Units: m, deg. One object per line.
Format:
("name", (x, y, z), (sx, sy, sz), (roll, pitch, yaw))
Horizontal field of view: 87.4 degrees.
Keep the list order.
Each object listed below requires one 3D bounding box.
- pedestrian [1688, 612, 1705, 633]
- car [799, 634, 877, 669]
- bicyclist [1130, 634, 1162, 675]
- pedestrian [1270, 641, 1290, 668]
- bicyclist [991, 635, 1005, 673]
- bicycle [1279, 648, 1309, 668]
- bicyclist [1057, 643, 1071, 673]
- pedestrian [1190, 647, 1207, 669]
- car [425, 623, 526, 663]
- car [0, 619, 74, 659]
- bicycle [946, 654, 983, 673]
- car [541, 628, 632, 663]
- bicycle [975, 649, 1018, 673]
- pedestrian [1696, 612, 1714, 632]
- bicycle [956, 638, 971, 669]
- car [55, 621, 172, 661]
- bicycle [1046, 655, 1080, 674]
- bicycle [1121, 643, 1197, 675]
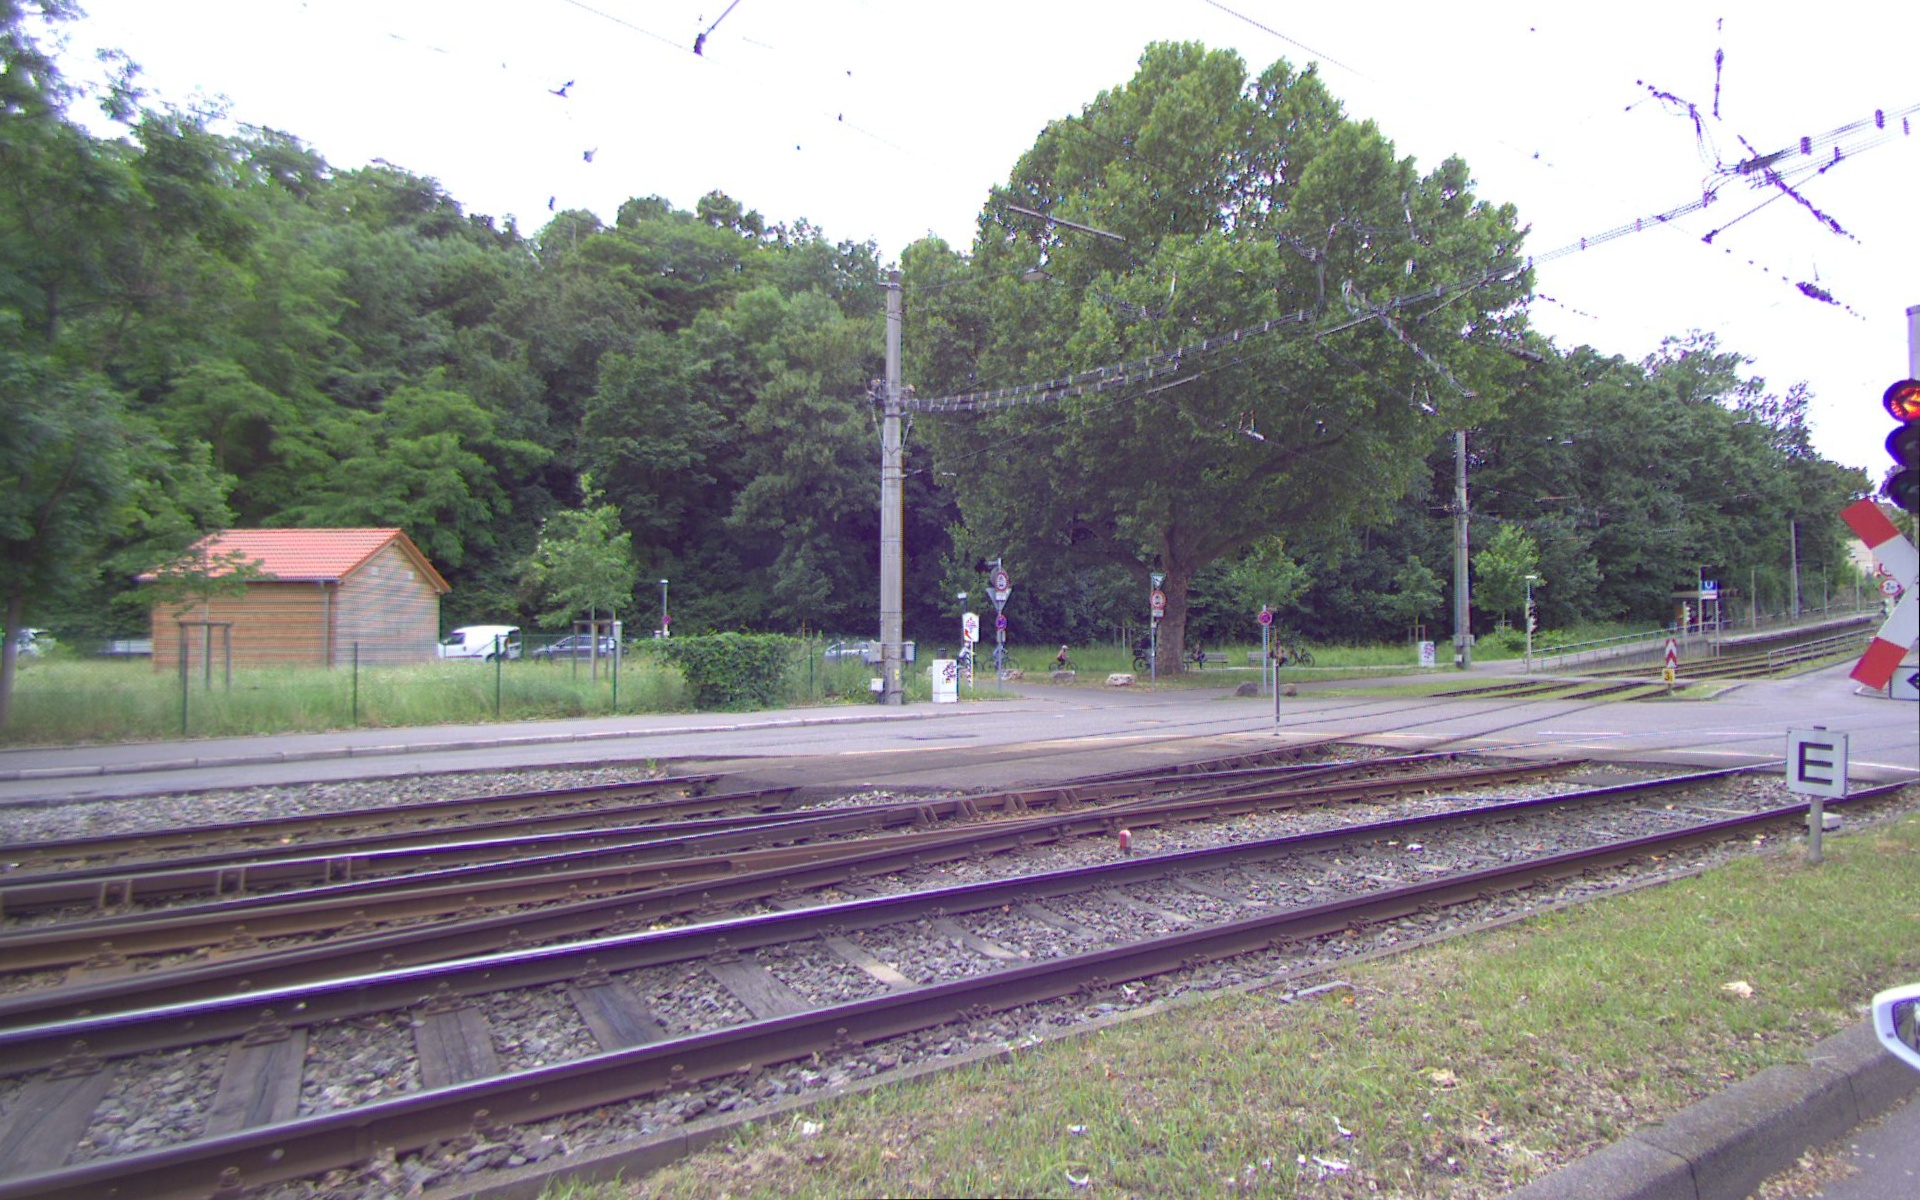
("pedestrian", (48.987, 1.461, 66.812), (0.780, 1.344, 0.766), (-1, 2, -37))
("car", (-5.655, 2.385, 46.849), (3.436, 1.443, 1.700), (2, 0, -3))
("bicyclist", (8.388, 2.457, 45.396), (1.268, 1.734, 0.735), (-2, 2, -4))
("pedestrian", (15.560, 2.637, 48.857), (0.662, 1.251, 0.578), (2, 0, -16))
("bicyclist", (1.734, 2.443, 45.575), (0.611, 1.697, 0.475), (0, 2, 8))
("bicycle", (16.379, 2.846, 49.304), (0.611, 0.897, 1.743), (2, 0, -10))
("bicyclist", (4.768, 2.656, 45.942), (0.569, 1.319, 0.455), (-2, 2, 3))
("pedestrian", (11.488, 2.779, 48.327), (0.610, 1.003, 0.530), (2, 0, -15))
("car", (-21.909, 1.937, 45.525), (3.610, 1.634, 1.909), (2, 0, -3))
("car", (-41.788, 1.690, 44.360), (3.612, 1.634, 1.756), (2, 0, -6))
("bicycle", (0.197, 2.845, 44.959), (1.626, 0.749, 0.453), (-1, 2, -18))
("car", (-16.862, 2.038, 45.468), (3.436, 1.443, 1.700), (2, 0, -3))
("bicycle", (1.644, 2.770, 45.591), (1.905, 1.055, 0.475), (0, 1, 8))
("pedestrian", (50.134, 1.477, 67.613), (0.780, 1.344, 0.766), (2, 0, -38))
("bicycle", (0.159, 2.375, 44.932), (0.508, 1.348, 0.453), (-1, 2, -18))
("car", (-37.595, 1.818, 44.681), (3.610, 1.634, 1.757), (2, 0, -3))
("bicycle", (4.714, 2.942, 45.951), (1.528, 0.749, 0.455), (-2, 2, 3))
("bicycle", (8.979, 2.661, 45.461), (3.282, 1.307, 0.735), (-2, 2, -4))
